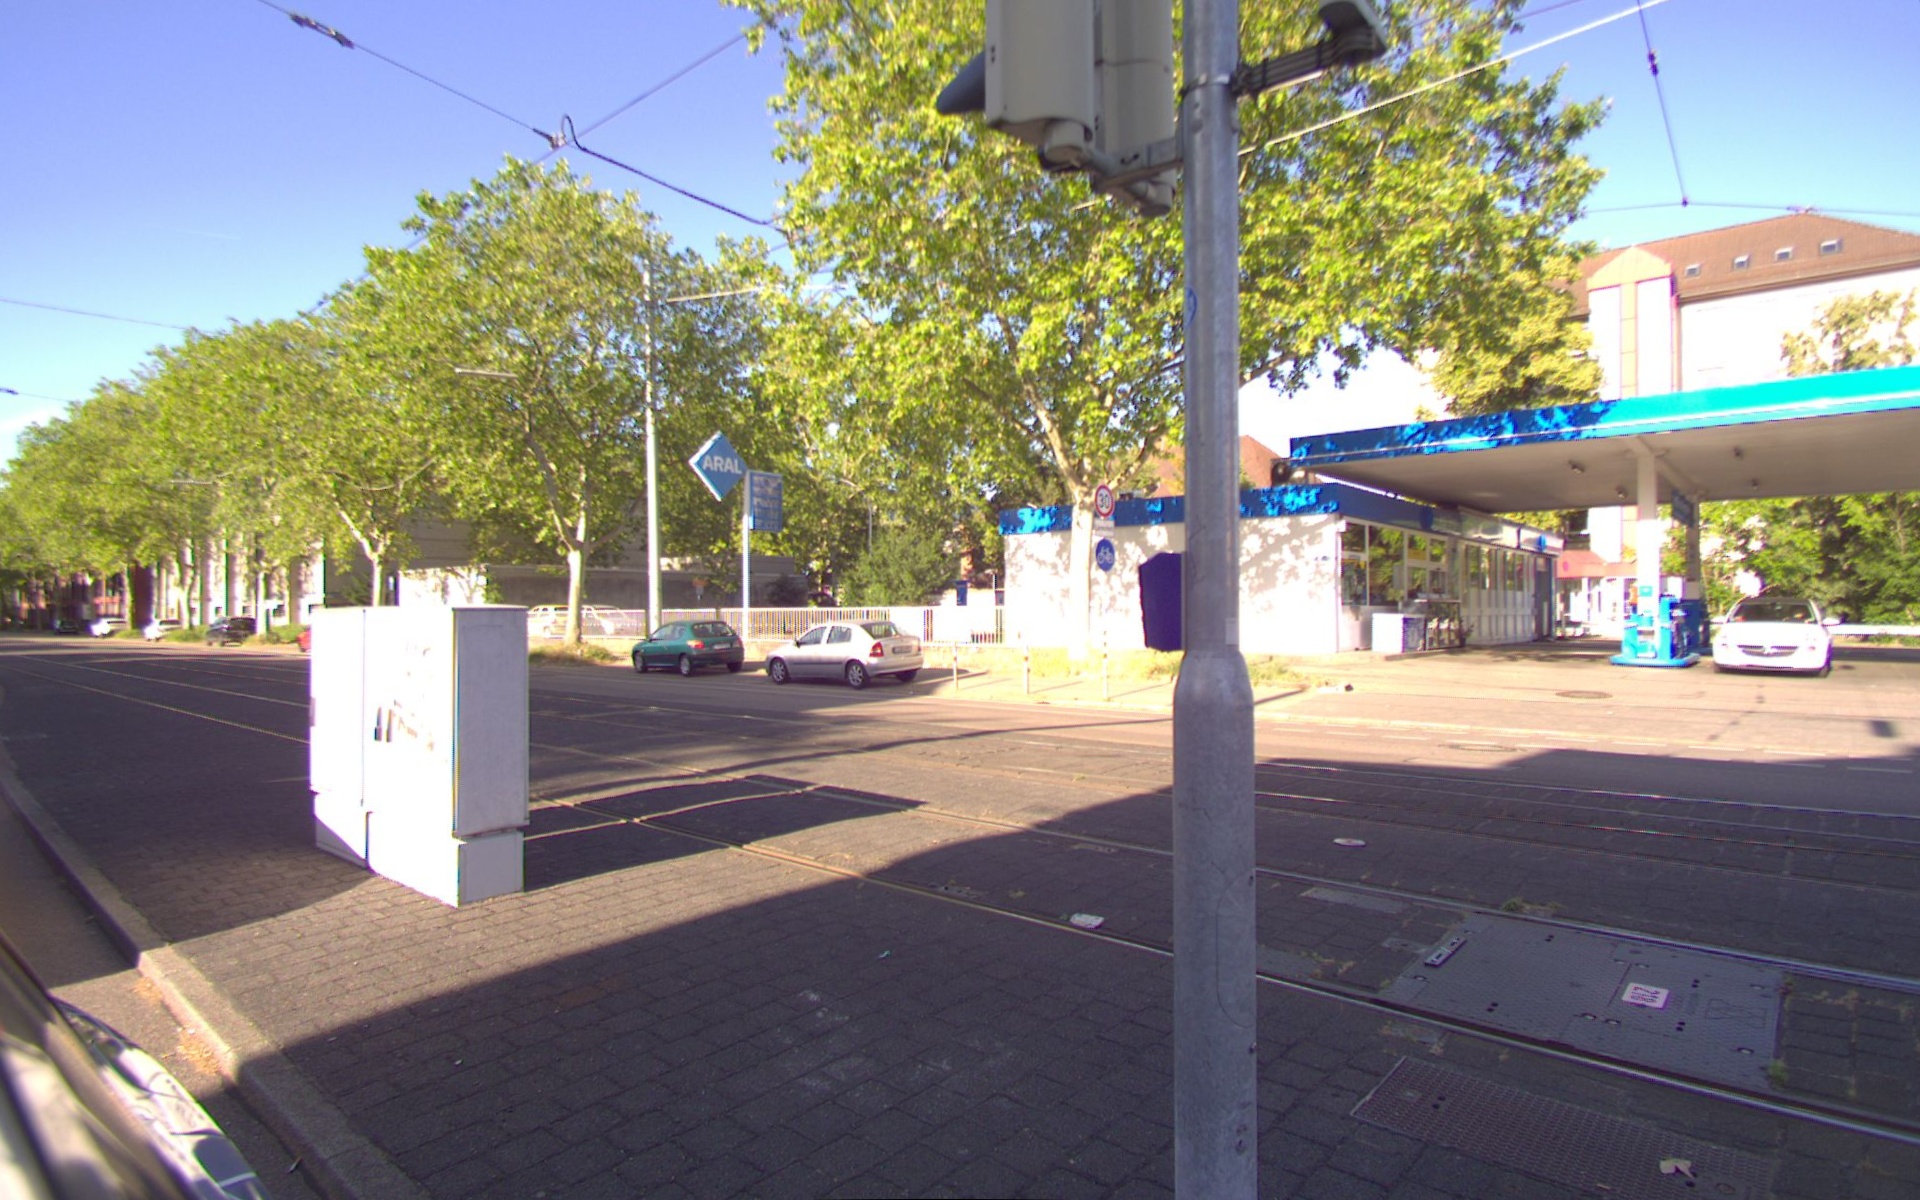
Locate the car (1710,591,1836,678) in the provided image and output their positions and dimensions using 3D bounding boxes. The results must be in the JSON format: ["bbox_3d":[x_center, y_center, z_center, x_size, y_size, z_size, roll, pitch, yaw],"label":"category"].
[{"bbox_3d":[15.886,0.600,19.700,1.743,1.446,3.882,-1,1,41],"label":"car"}]

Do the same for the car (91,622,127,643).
[{"bbox_3d":[-66.793,2.500,79.395,3.731,1.471,1.639,-1,2,43],"label":"car"}]

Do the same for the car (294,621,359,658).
[{"bbox_3d":[-28.781,1.770,45.932,3.377,1.506,1.639,-1,2,43],"label":"car"}]

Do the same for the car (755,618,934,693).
[{"bbox_3d":[-2.629,1.186,22.587,3.987,1.376,1.666,-2,3,41],"label":"car"}]

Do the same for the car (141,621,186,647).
[{"bbox_3d":[-53.705,2.285,68.229,3.878,1.552,1.731,-1,2,43],"label":"car"}]

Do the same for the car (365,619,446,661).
[{"bbox_3d":[-22.013,1.565,40.126,3.769,1.455,1.701,-1,2,43],"label":"car"}]

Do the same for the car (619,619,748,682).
[{"bbox_3d":[-7.396,1.295,26.948,3.606,1.455,1.598,-1,2,43],"label":"car"}]

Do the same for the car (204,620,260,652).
[{"bbox_3d":[-40.686,1.981,56.535,3.878,1.603,1.731,-1,2,43],"label":"car"}]

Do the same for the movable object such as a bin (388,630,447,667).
[{"bbox_3d":[-17.864,1.585,33.319,1.835,1.111,1.162,-1,0,42],"label":"movable object such as a bin"}]

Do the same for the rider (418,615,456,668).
[{"bbox_3d":[-16.734,1.308,32.381,1.106,1.660,0.716,-1,0,42],"label":"rider"}]

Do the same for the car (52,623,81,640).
[{"bbox_3d":[-85.042,3.011,96.313,3.731,1.471,1.639,-1,2,43],"label":"car"}]
